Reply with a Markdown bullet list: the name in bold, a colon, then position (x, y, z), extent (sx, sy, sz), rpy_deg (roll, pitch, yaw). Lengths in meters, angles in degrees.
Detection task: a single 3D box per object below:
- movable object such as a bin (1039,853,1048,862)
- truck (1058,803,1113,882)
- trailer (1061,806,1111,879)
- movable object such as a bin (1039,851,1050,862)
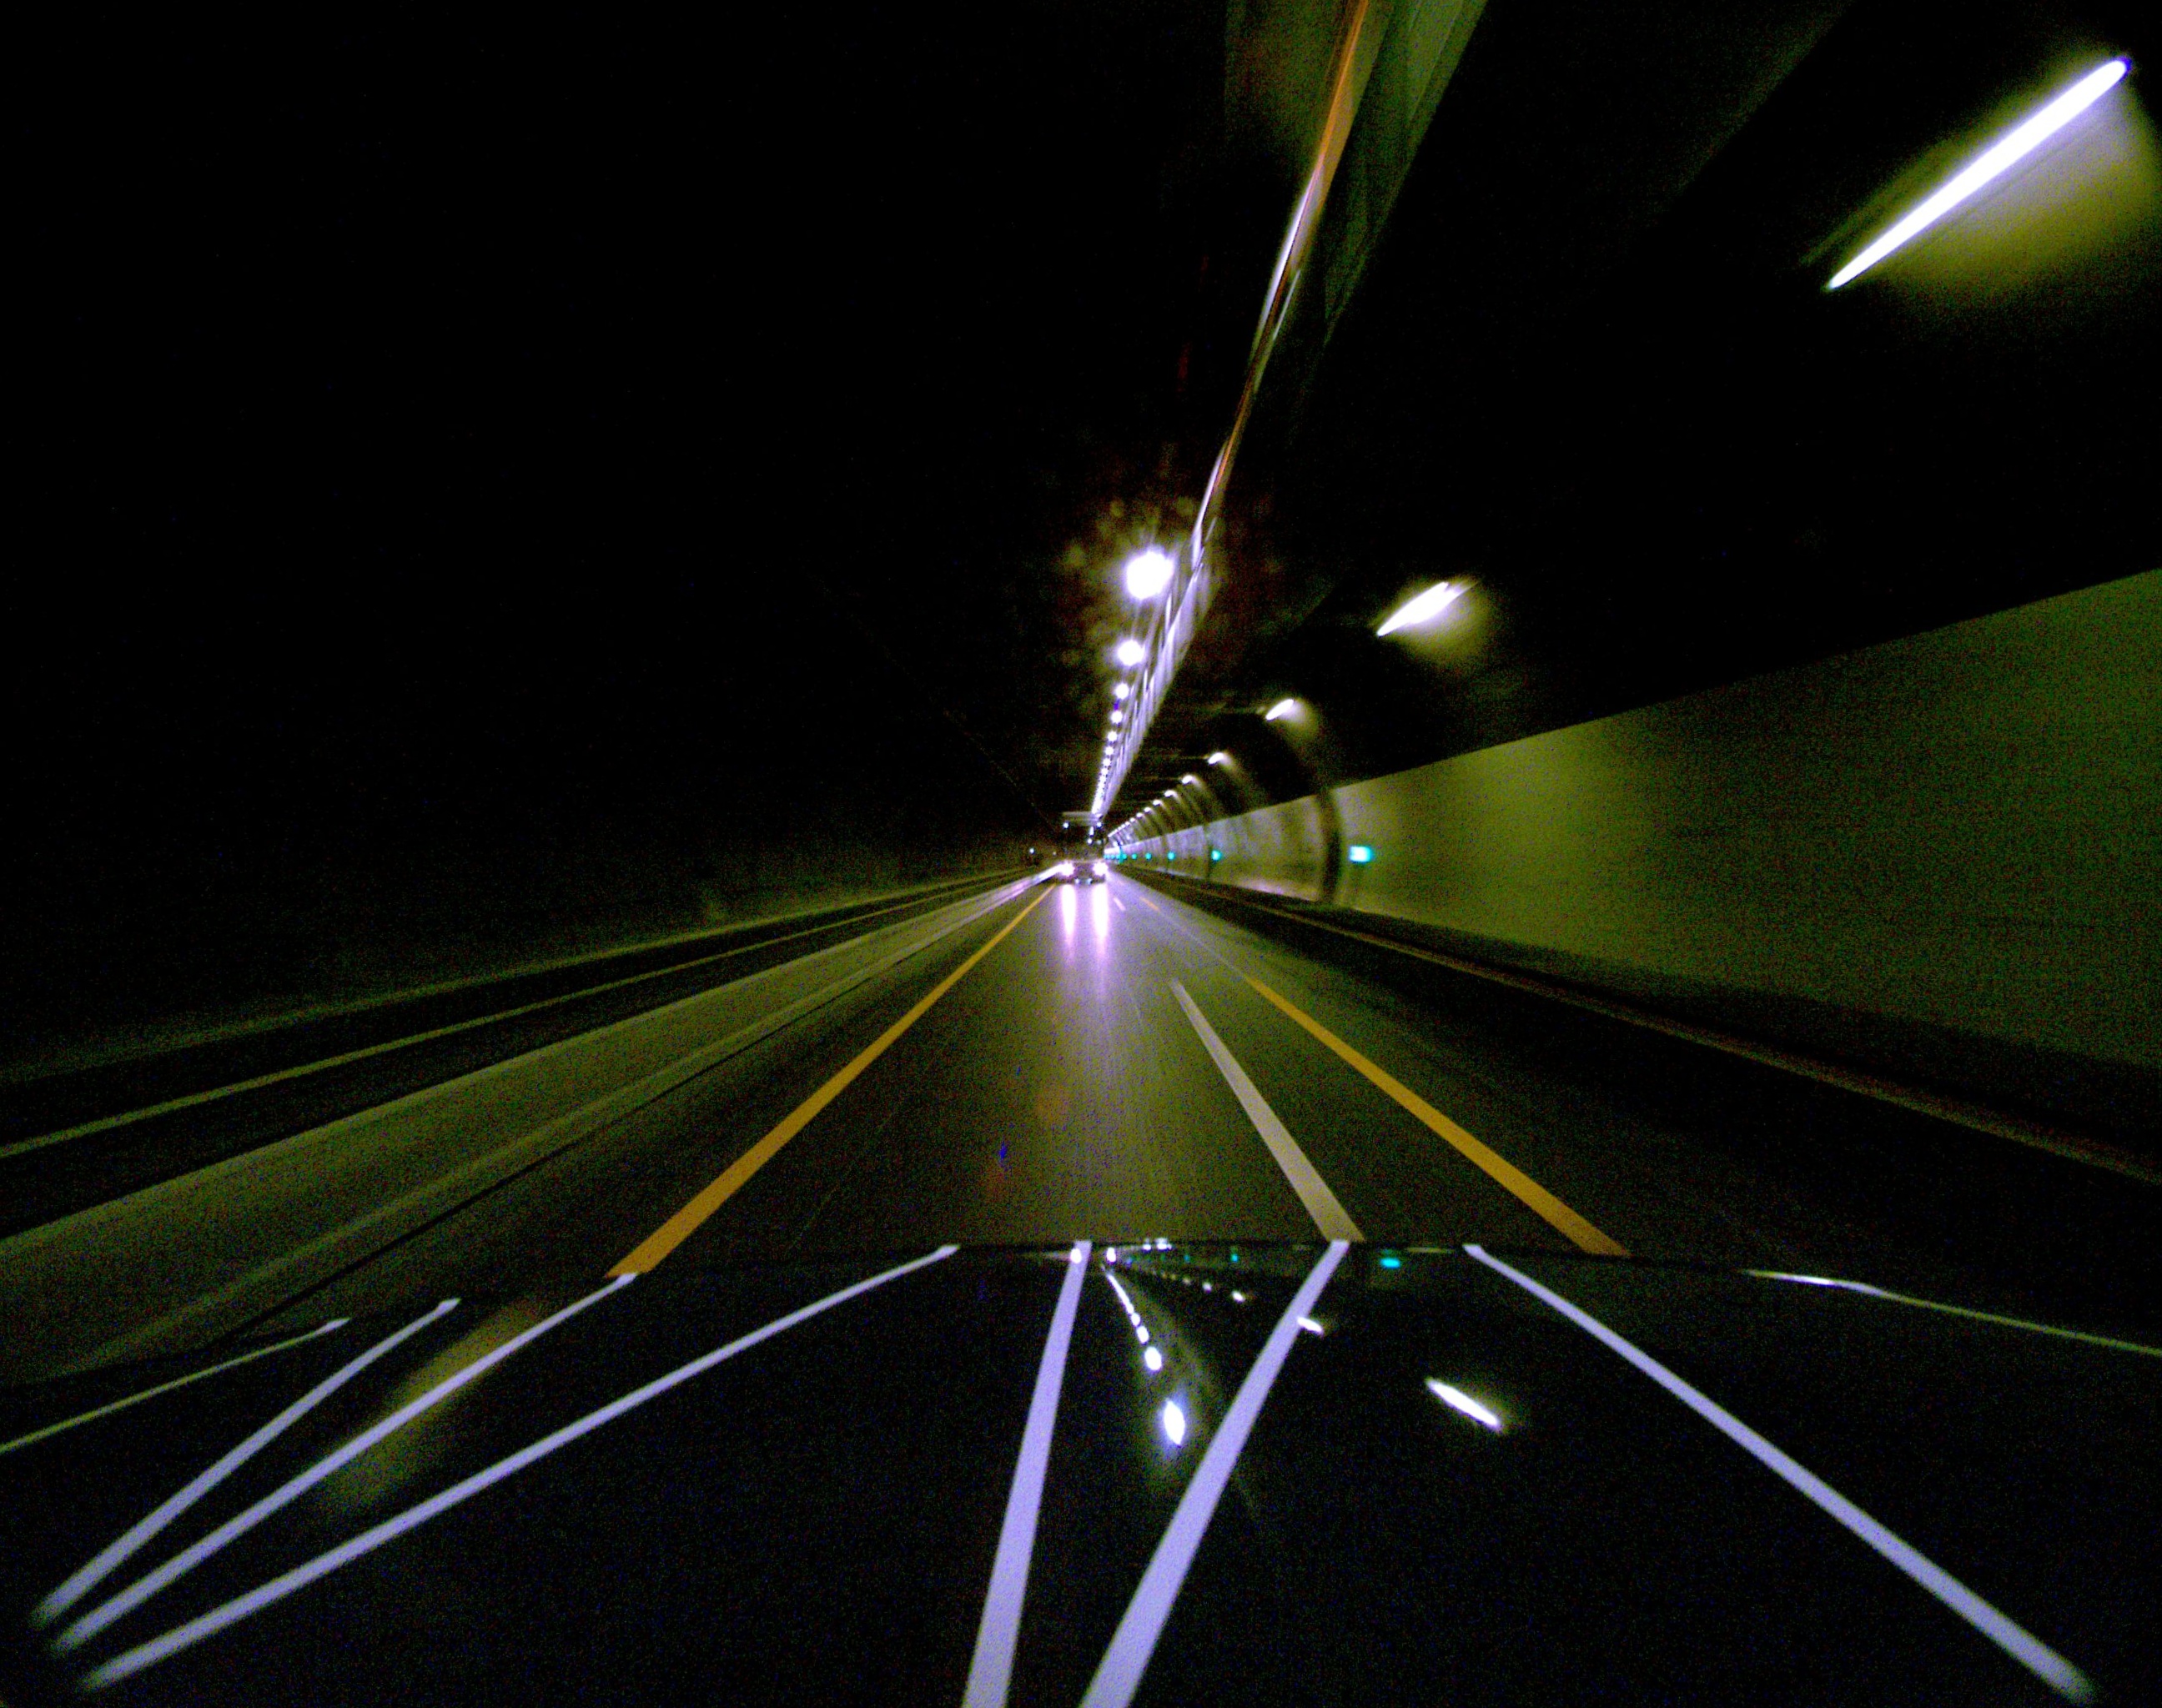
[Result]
- **movable object such as a bin**: position (-7.459, 0.705, 151.768), extent (1.560, 1.699, 3.054), rpy_deg (-2, 1, 0)
- **truck**: position (0.284, -0.664, 45.877), extent (2.951, 4.338, 6.675), rpy_deg (-2, 1, 0)
- **trailer**: position (0.333, -0.713, 50.938), extent (2.940, 4.316, 10.051), rpy_deg (-2, 1, 0)
- **movable object such as a bin**: position (-6.965, 0.471, 145.478), extent (1.688, 2.133, 4.627), rpy_deg (-2, 1, 0)
